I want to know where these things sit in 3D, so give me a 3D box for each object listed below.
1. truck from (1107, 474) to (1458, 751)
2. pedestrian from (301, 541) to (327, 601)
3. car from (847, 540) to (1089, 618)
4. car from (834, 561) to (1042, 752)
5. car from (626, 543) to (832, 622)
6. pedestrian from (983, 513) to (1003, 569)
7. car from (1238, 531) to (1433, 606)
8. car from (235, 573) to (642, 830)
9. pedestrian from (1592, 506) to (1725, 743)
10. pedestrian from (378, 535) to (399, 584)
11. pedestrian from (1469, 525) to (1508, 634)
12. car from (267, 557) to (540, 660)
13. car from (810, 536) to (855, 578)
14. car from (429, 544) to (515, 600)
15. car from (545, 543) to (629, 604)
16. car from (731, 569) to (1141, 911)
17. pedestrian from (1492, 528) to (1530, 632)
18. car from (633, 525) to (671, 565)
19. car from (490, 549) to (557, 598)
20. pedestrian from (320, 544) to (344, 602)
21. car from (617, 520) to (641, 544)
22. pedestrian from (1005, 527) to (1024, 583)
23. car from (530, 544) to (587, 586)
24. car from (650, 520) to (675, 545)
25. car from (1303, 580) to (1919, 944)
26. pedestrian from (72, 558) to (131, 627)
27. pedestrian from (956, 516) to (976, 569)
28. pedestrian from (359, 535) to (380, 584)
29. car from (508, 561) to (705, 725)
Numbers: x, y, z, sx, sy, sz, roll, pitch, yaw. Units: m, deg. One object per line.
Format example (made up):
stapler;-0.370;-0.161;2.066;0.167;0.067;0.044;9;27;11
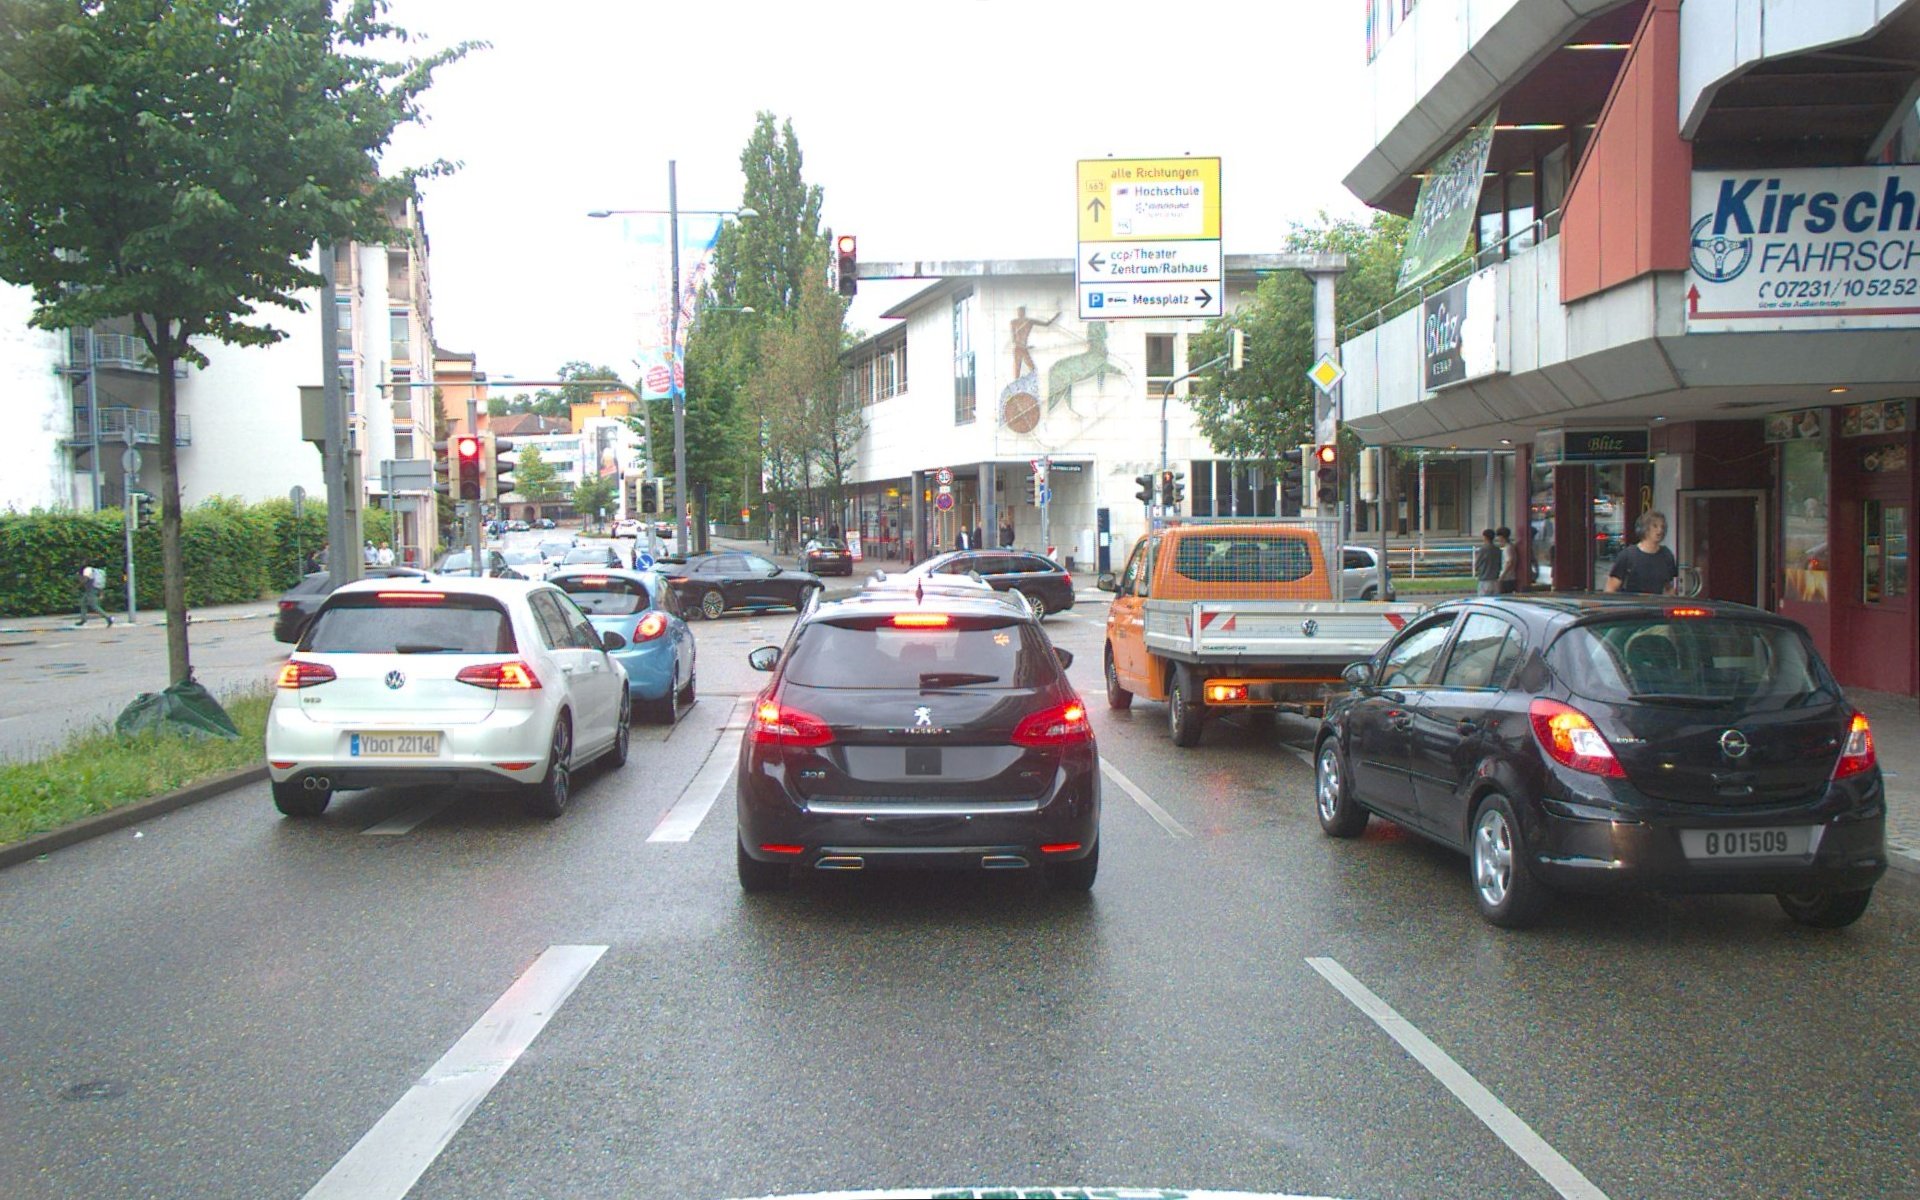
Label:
truck;2.826;0.035;15.823;2.133;2.210;5.018;1;2;-3
pedestrian;-19.372;-0.854;49.609;0.529;1.778;0.746;1;-1;-9
car;0.146;-0.430;33.512;4.645;1.512;1.632;0;1;-16
car;-0.209;0.413;15.291;1.662;1.512;3.793;1;2;-1
car;-5.148;-0.437;37.308;1.762;1.479;4.479;0;4;43
pedestrian;1.167;-2.056;57.825;0.623;1.930;0.734;1;-1;6
car;8.120;-0.661;35.839;3.828;1.512;1.618;1;-1;-13
car;-3.351;0.556;11.397;1.742;1.454;3.840;1;1;-3
pedestrian;5.735;0.201;13.623;0.726;1.847;0.774;-4;-1;11
pedestrian;-20.802;-1.460;60.237;0.584;1.758;0.655;1;-1;-9
pedestrian;8.426;-0.317;26.393;0.417;1.712;0.450;-1;-1;-2
car;-9.335;0.114;28.053;4.152;1.592;1.700;-1;1;-12
car;-5.231;-1.733;67.448;1.692;1.516;4.726;1;-1;-6
car;-13.762;-0.804;46.800;1.543;1.512;3.607;1;2;-4
car;-10.611;-0.719;47.292;1.710;1.607;3.996;1;-1;-4
car;-0.182;0.570;9.000;1.742;1.454;3.840;1;1;-3
pedestrian;8.925;-0.315;26.791;0.388;1.668;0.504;-1;-1;0
car;-14.686;-2.595;78.919;1.713;1.669;3.989;1;-1;-11
car;-14.130;-0.884;53.732;1.602;1.512;3.605;1;2;-7
pedestrian;-19.471;-0.841;51.264;0.528;1.778;0.564;1;-1;-6
car;-29.170;-5.975;145.624;1.679;1.915;3.980;1;-1;-18
pedestrian;1.905;-1.558;57.812;0.623;1.930;0.734;1;-1;6
car;-14.757;-1.306;60.990;1.602;1.512;3.605;1;2;-7
car;-26.446;-5.997;146.823;1.679;1.970;3.980;1;-1;-18
car;3.103;0.643;8.682;1.584;1.454;3.839;1;1;-4
pedestrian;-20.484;-0.174;39.468;1.041;1.606;0.683;1;-1;-5
pedestrian;0.212;-1.958;56.874;0.623;1.788;0.734;1;-1;6
pedestrian;-21.377;-1.460;59.895;0.584;1.758;0.655;1;-1;-9
car;-3.602;0.366;17.359;1.601;1.512;3.606;1;2;-6
